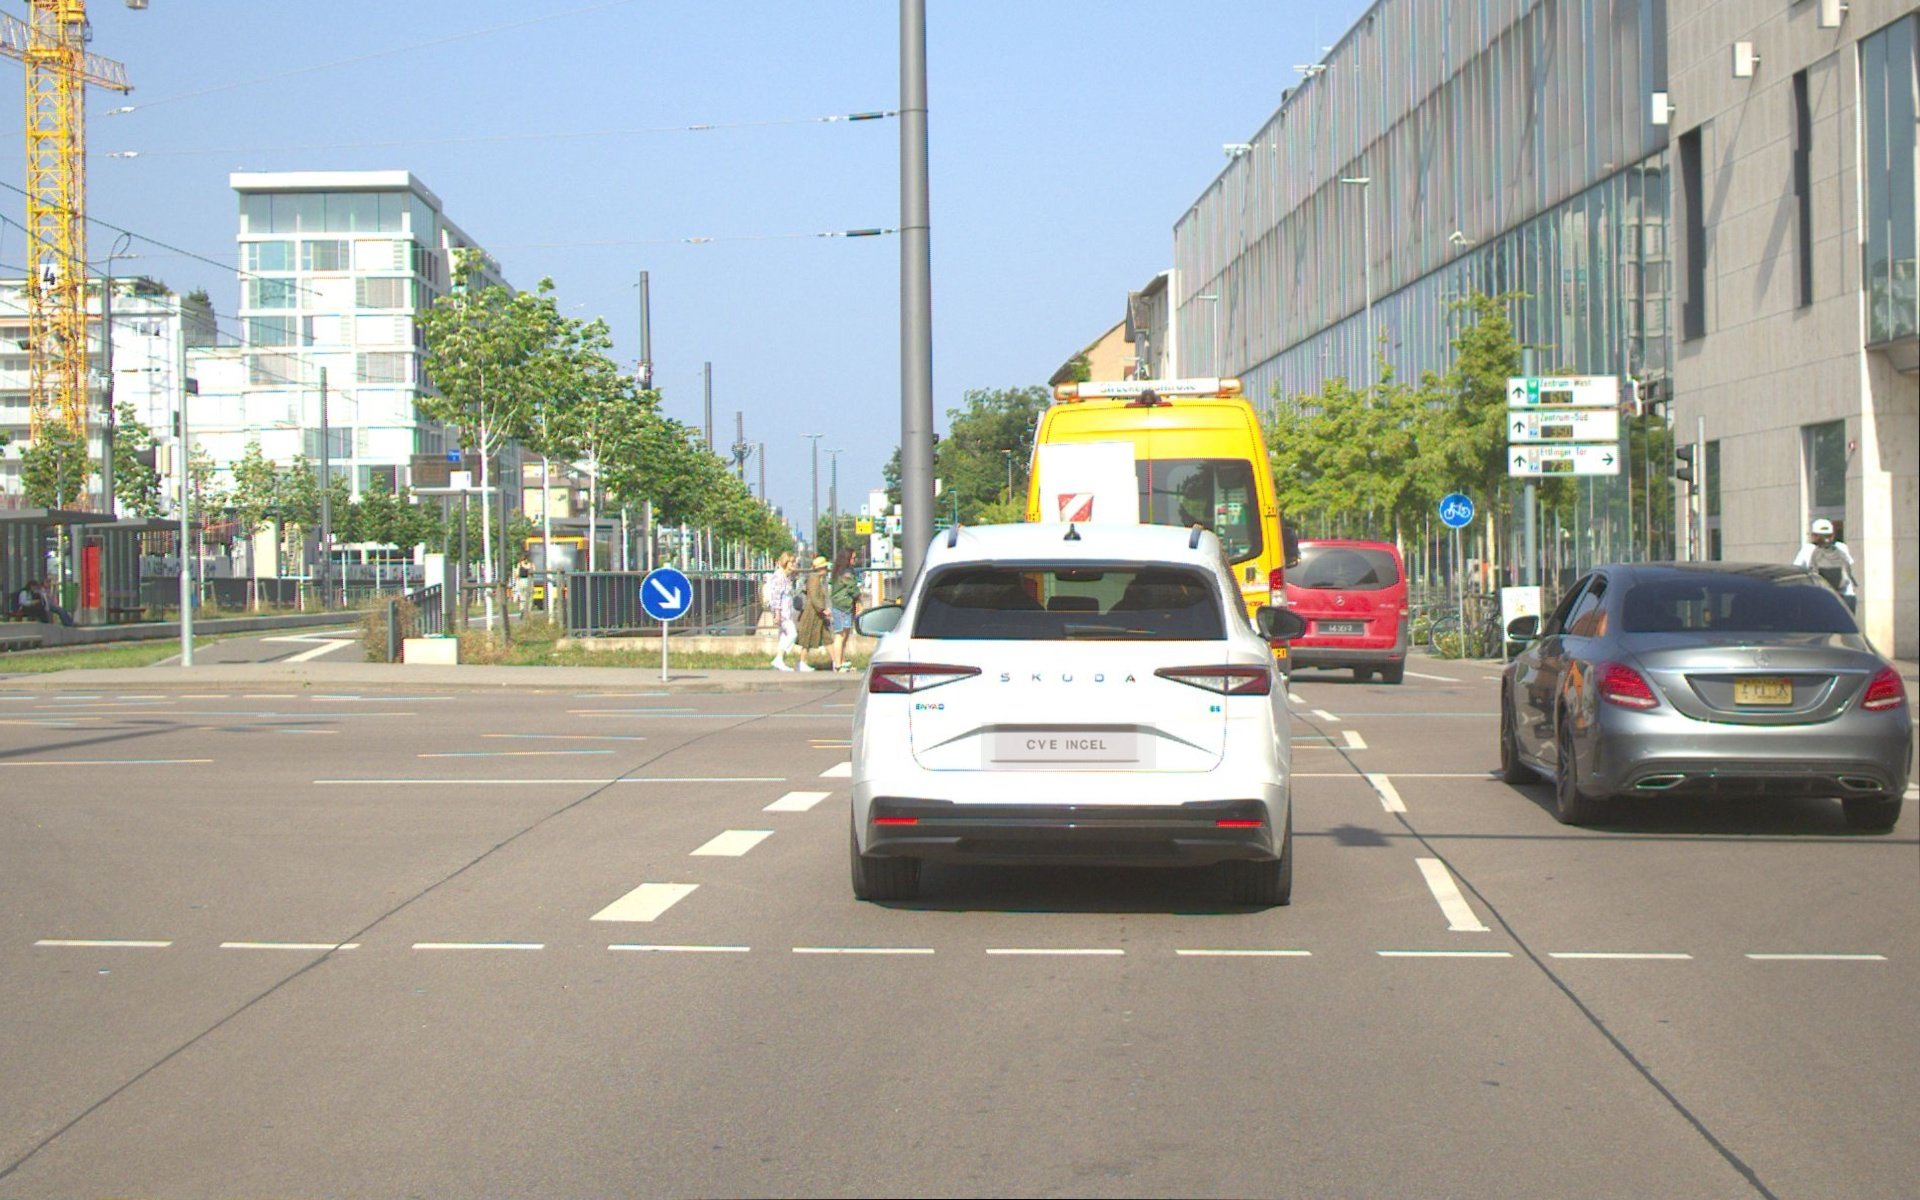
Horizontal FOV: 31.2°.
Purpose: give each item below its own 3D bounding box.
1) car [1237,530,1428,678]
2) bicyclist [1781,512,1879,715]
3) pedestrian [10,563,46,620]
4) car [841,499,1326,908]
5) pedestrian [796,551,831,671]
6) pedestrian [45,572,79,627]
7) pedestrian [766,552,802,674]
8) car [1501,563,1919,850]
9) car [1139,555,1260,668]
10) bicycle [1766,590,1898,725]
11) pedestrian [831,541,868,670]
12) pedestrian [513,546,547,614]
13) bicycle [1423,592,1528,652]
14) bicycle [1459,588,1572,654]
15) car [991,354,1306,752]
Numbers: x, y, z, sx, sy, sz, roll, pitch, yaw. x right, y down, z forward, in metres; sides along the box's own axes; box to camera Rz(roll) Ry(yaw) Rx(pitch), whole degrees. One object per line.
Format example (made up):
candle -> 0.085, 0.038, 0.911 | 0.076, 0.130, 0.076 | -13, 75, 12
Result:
car -> 4.885, 0.025, 45.659 | 1.950, 1.843, 4.436 | -1, 1, -1
bicyclist -> 7.588, 0.114, 30.007 | 0.651, 1.743, 0.769 | -1, 0, 1
pedestrian -> -21.673, -0.200, 79.960 | 0.680, 1.295, 0.592 | -1, 1, -5
car -> 0.435, 0.380, 15.353 | 1.870, 1.569, 4.000 | -1, 1, -1
pedestrian -> -2.037, 0.147, 47.789 | 0.467, 1.644, 0.777 | 0, 1, -1
pedestrian -> -21.638, -0.013, 82.844 | 0.680, 1.295, 0.592 | -1, 1, -5
pedestrian -> -2.392, 0.171, 46.882 | 0.467, 1.644, 0.777 | 0, 1, -1
car -> 4.140, 0.514, 19.417 | 1.760, 1.431, 4.114 | 0, 1, 4
car -> 4.090, 0.190, 59.151 | 1.709, 1.856, 3.794 | 1, 0, -1
bicycle -> 7.598, 0.478, 30.033 | 0.661, 1.113, 2.051 | -1, 1, 1
pedestrian -> -1.428, 0.069, 44.302 | 0.467, 1.644, 0.777 | 0, 1, -1
pedestrian -> -10.191, -0.476, 81.494 | 0.735, 1.613, 0.711 | 0, 0, -2
bicycle -> 9.606, 0.411, 64.112 | 1.878, 1.105, 0.490 | -1, 0, 1
bicycle -> 9.683, 0.367, 59.935 | 1.839, 1.109, 0.687 | 1, 0, 1
car -> 1.356, -0.381, 26.946 | 2.020, 2.786, 5.401 | -1, 1, -1
